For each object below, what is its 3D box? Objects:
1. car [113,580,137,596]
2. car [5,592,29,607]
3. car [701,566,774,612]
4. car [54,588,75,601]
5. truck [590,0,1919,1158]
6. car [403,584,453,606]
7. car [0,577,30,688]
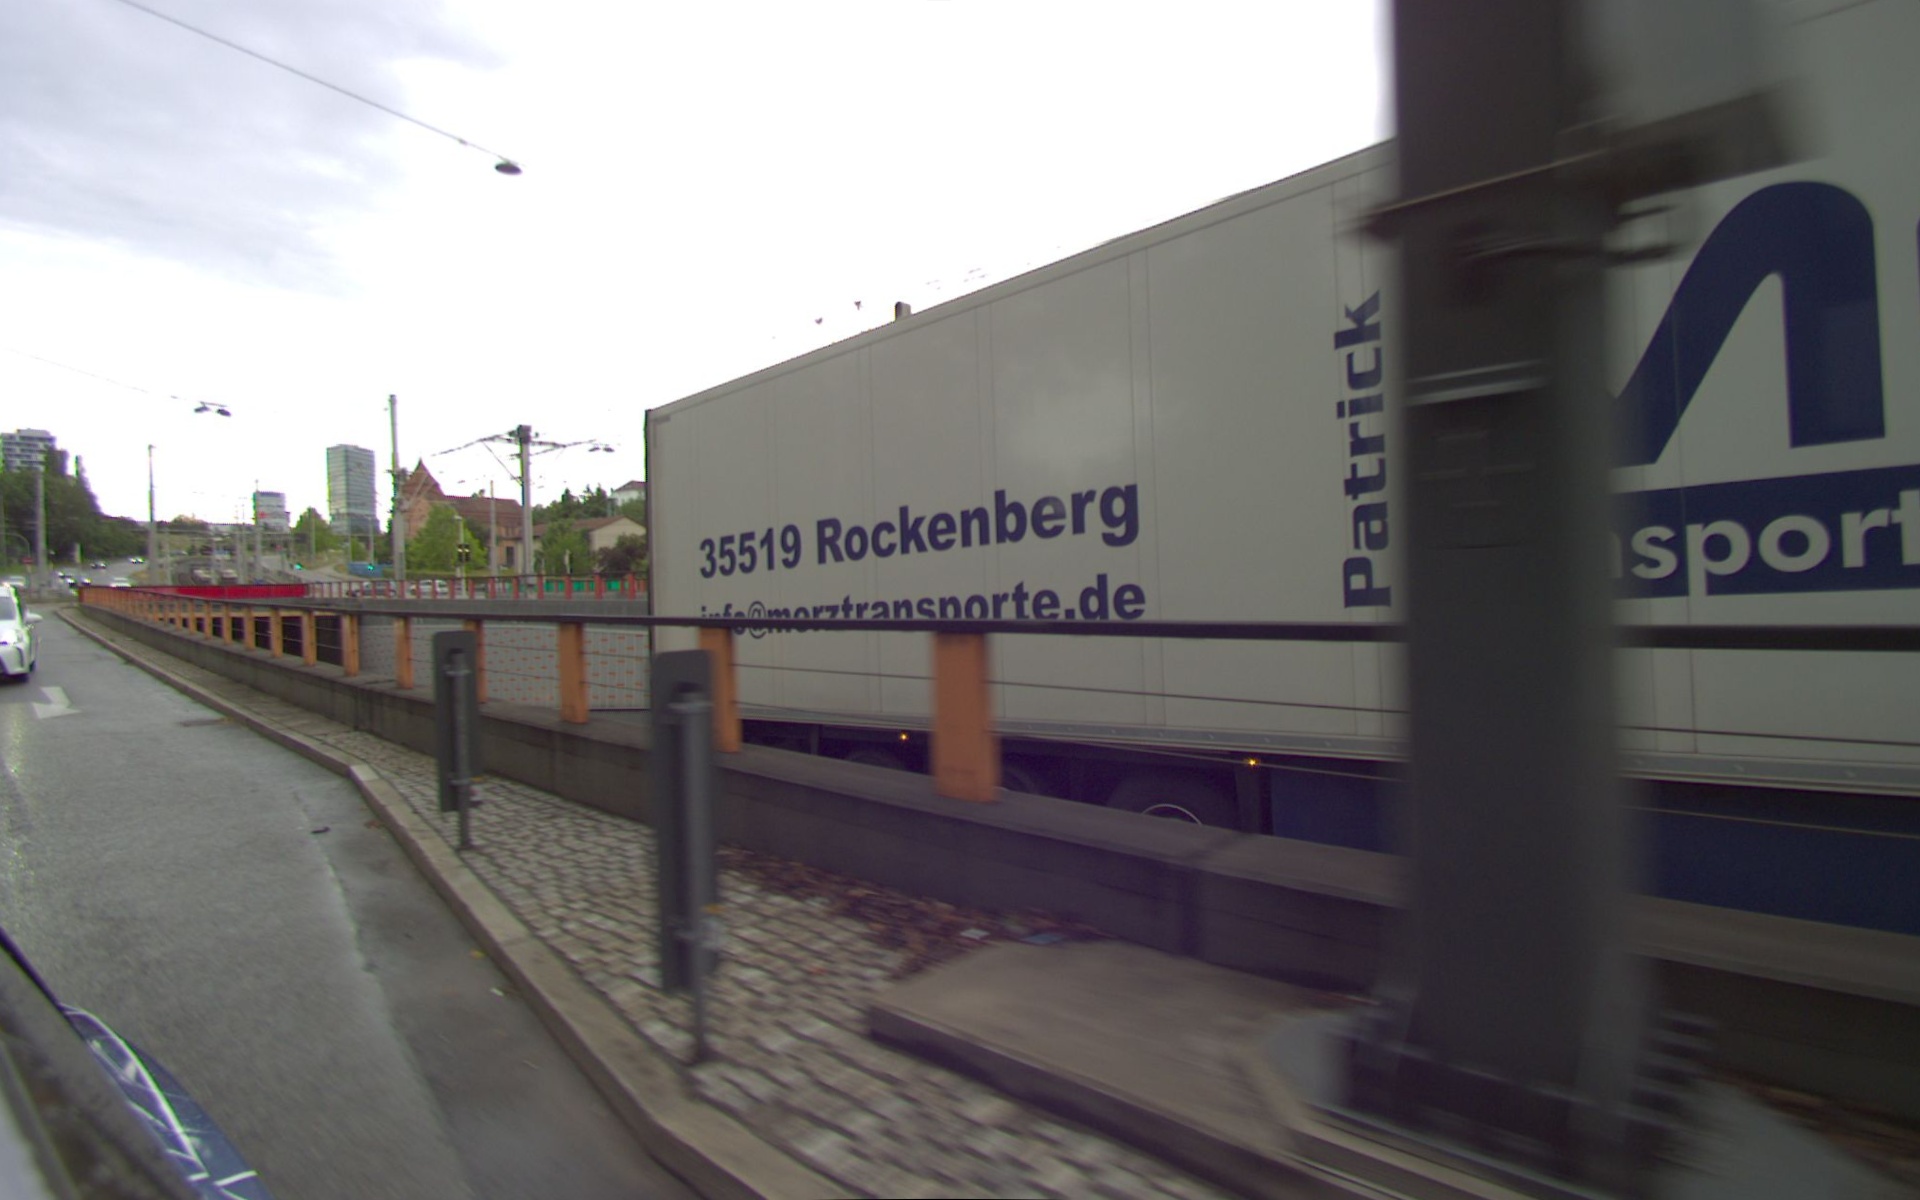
[{"bbox_3d":[-92.537,-1.349,112.222,1.711,1.599,4.011,-1,3,-35],"label":"car"},{"bbox_3d":[-100.684,-0.067,108.023,1.776,1.523,4.003,-2,0,-44],"label":"car"},{"bbox_3d":[-14.729,-0.745,66.753,1.970,2.853,5.722,1,0,-44],"label":"car"},{"bbox_3d":[-104.418,-0.661,117.998,1.776,1.482,4.005,-2,3,-43],"label":"car"},{"bbox_3d":[2.011,-0.308,6.167,13.036,4.229,2.731,-1,-1,45],"label":"truck"},{"bbox_3d":[-53.189,-0.553,101.164,3.941,2.028,2.002,1,3,-3],"label":"car"},{"bbox_3d":[-17.000,0.479,17.088,1.829,1.764,4.004,1,0,-44],"label":"car"}]
